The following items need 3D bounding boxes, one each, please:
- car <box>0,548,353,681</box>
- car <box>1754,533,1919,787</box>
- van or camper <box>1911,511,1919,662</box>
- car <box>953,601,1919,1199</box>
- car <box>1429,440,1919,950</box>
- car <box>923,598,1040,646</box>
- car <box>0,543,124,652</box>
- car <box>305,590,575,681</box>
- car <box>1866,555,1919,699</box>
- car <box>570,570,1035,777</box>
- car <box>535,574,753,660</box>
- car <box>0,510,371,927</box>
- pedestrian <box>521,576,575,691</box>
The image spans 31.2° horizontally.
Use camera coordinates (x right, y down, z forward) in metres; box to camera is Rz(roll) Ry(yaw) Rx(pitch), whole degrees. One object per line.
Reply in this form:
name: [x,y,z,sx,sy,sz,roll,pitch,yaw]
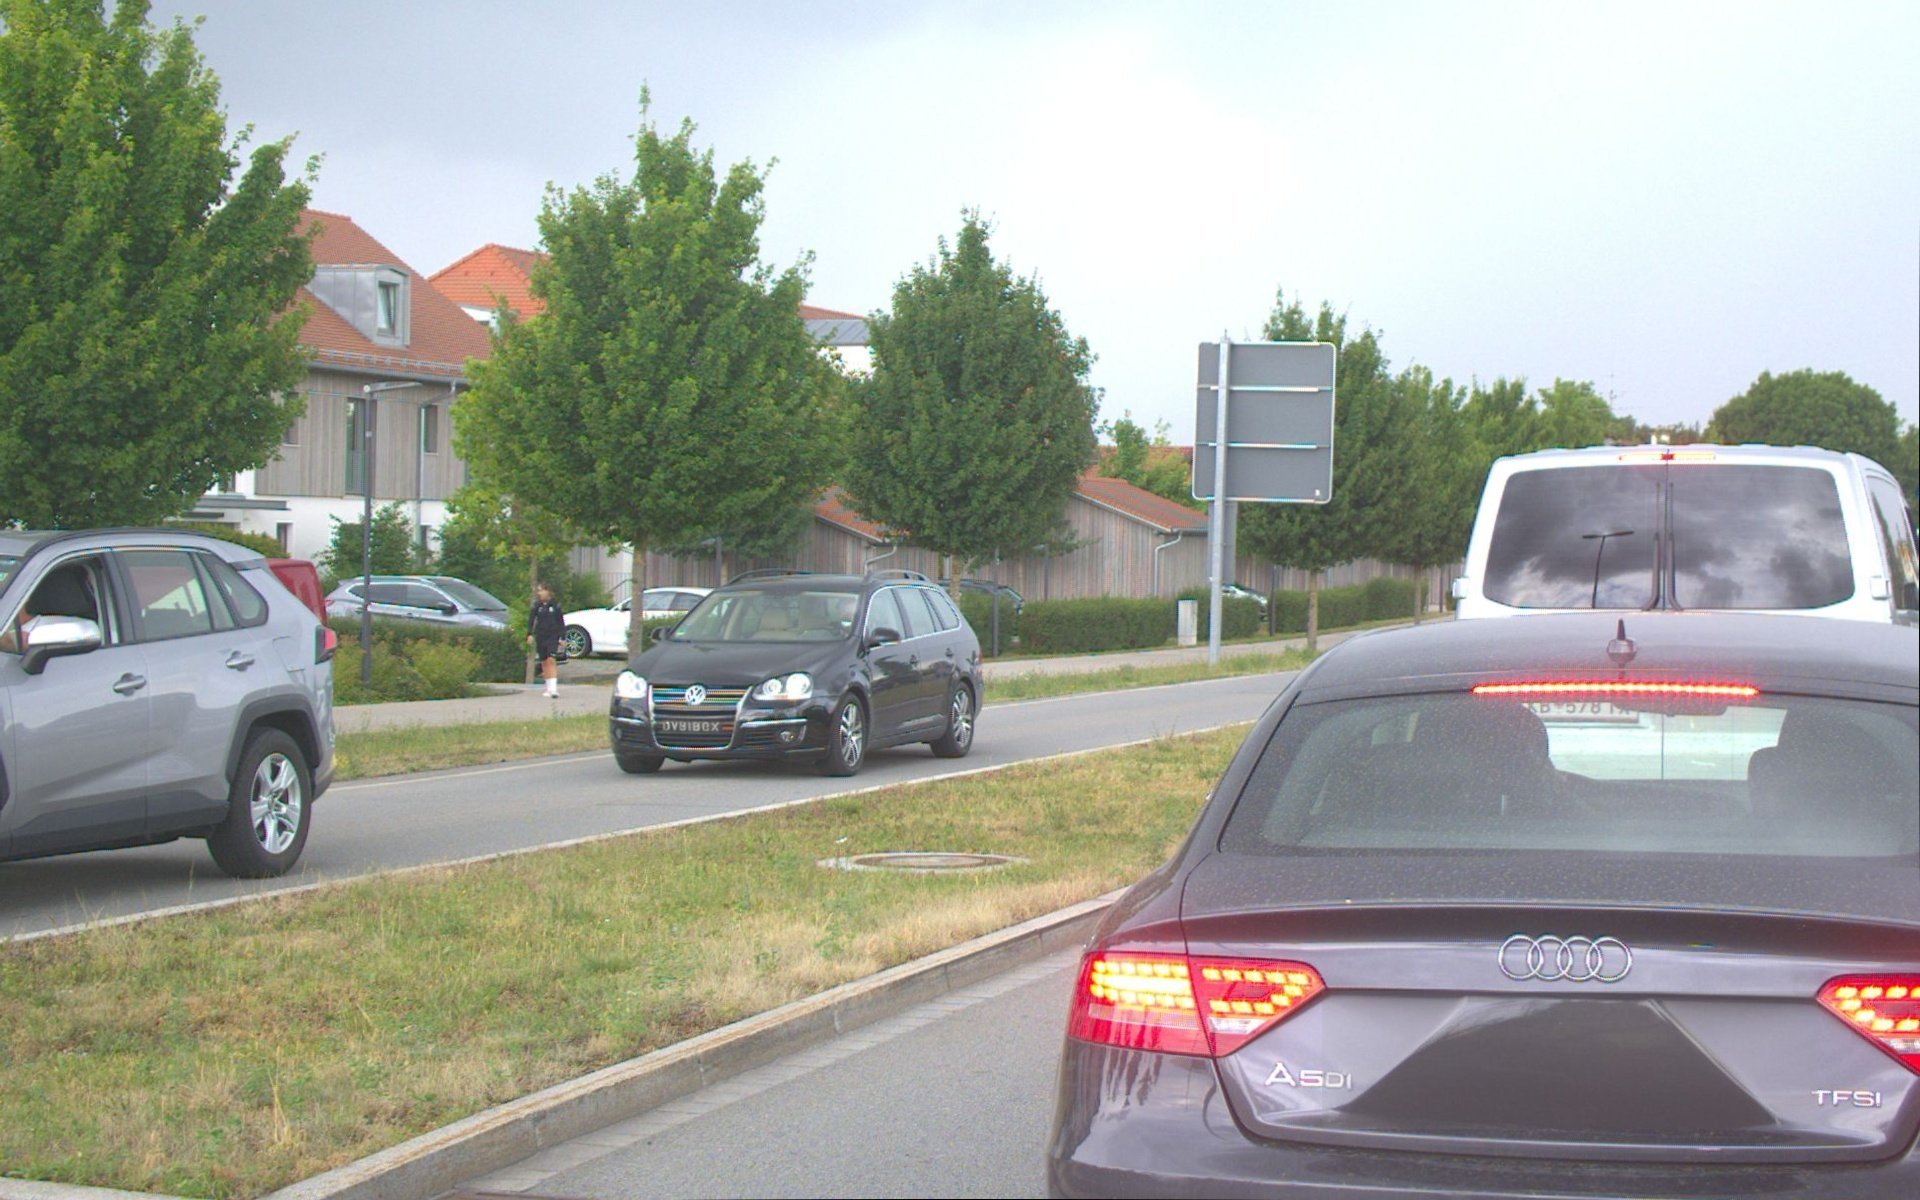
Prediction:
car: [-11.004,0.171,48.057,4.535,1.674,1.998,2,1,21]
car: [6.660,0.381,24.113,1.778,1.612,3.997,2,1,17]
van or camper: [23.154,-0.234,78.237,2.627,3.312,6.815,2,0,17]
car: [1.394,0.727,6.792,1.785,1.387,4.130,1,1,15]
car: [3.304,0.327,15.354,1.868,1.927,3.997,2,1,15]
car: [0.498,0.502,79.096,2.473,1.025,1.185,2,1,12]
car: [-16.142,-0.067,57.334,1.996,1.766,4.460,2,0,22]
car: [-8.465,0.560,56.047,3.917,1.310,1.841,2,1,15]
car: [11.636,0.311,40.273,1.778,1.612,3.997,1,0,17]
car: [-1.062,0.484,25.756,1.755,1.411,4.450,0,0,23]
car: [-5.997,0.313,65.296,3.732,1.477,1.685,2,1,15]
car: [-4.586,0.474,15.109,1.995,1.698,4.631,0,0,18]
pedestrian: [-5.685,0.464,47.442,0.581,1.553,0.660,1,1,-18]
